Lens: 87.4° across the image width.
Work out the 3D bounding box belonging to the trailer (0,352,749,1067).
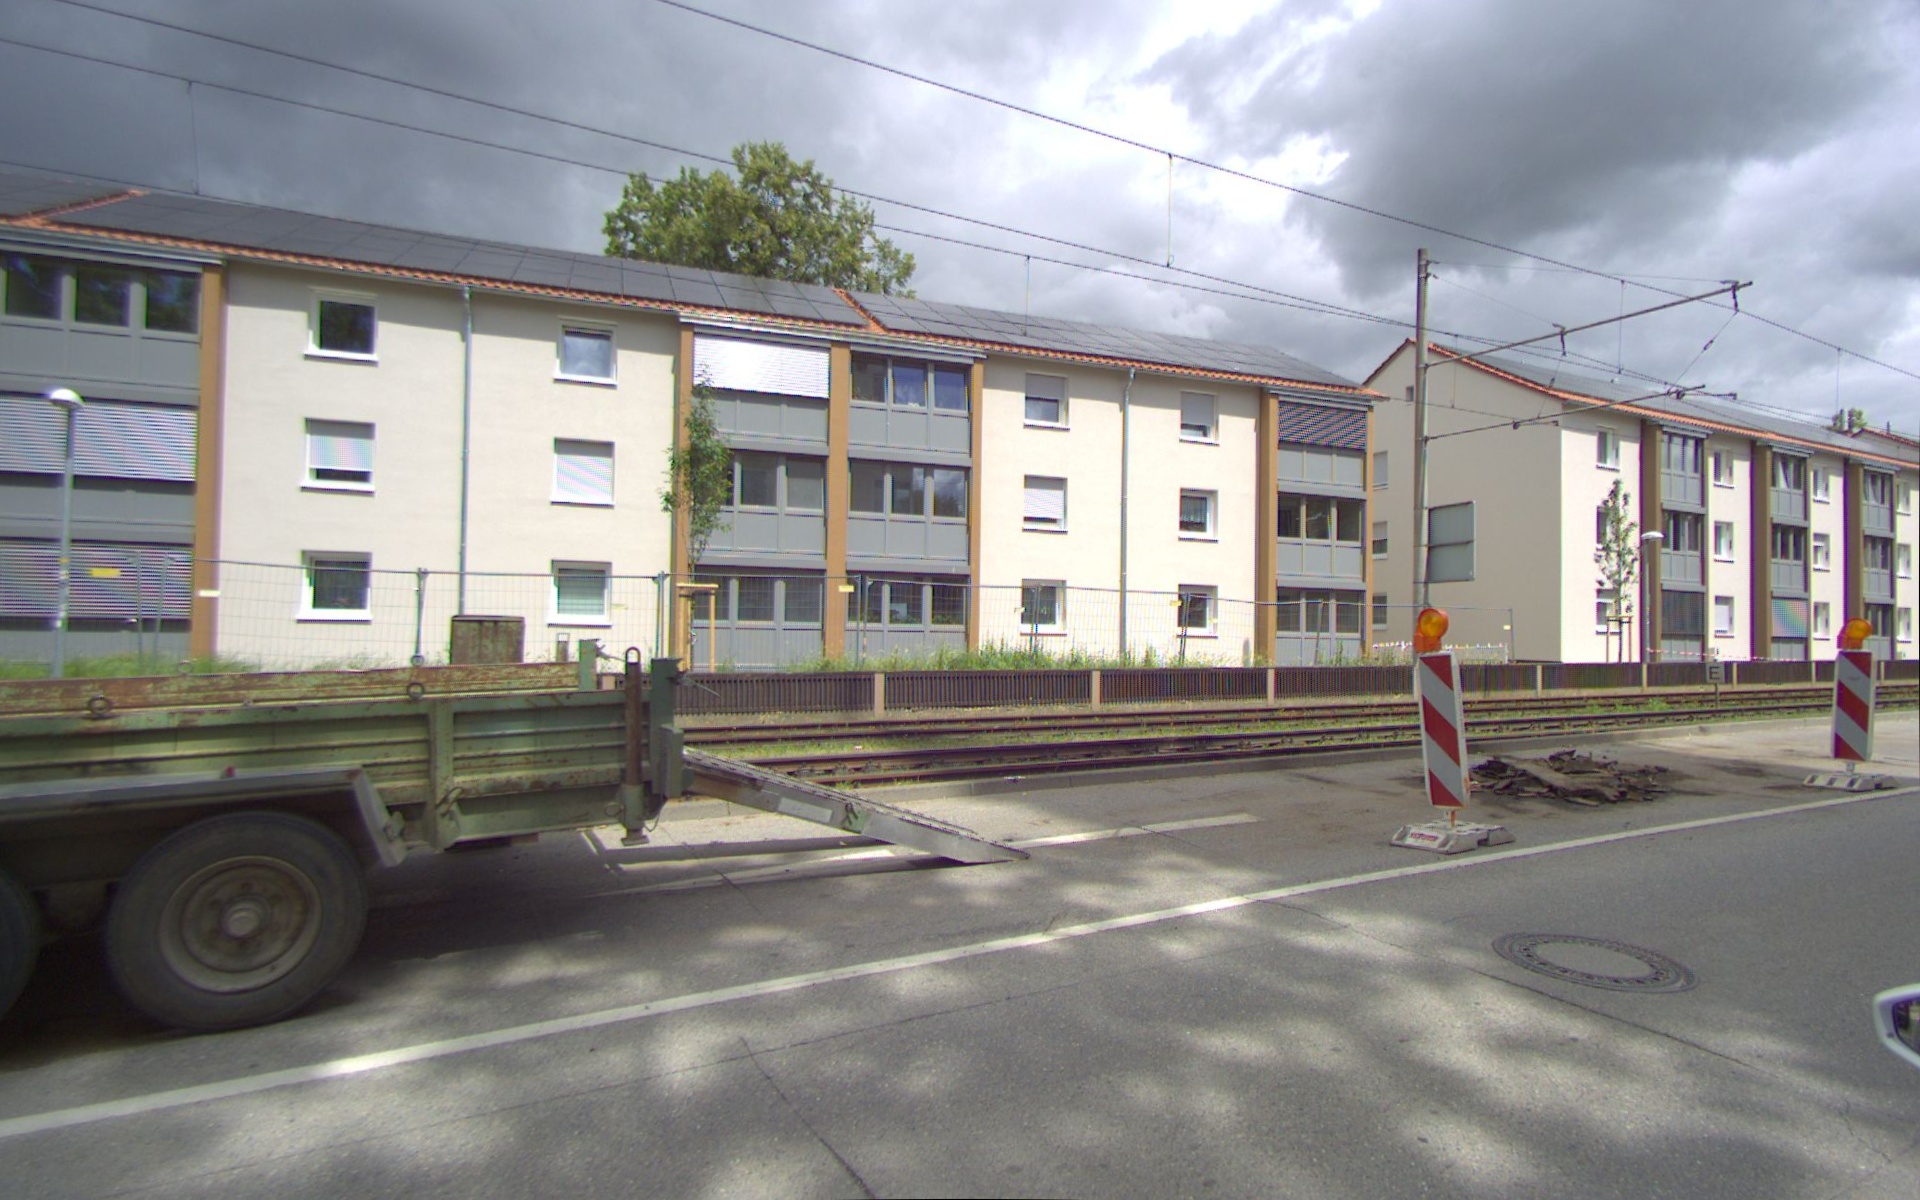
[{"bbox_3d":[-4.241,0.322,3.957,6.175,2.243,2.649,1,1,-31],"label":"trailer"}]
